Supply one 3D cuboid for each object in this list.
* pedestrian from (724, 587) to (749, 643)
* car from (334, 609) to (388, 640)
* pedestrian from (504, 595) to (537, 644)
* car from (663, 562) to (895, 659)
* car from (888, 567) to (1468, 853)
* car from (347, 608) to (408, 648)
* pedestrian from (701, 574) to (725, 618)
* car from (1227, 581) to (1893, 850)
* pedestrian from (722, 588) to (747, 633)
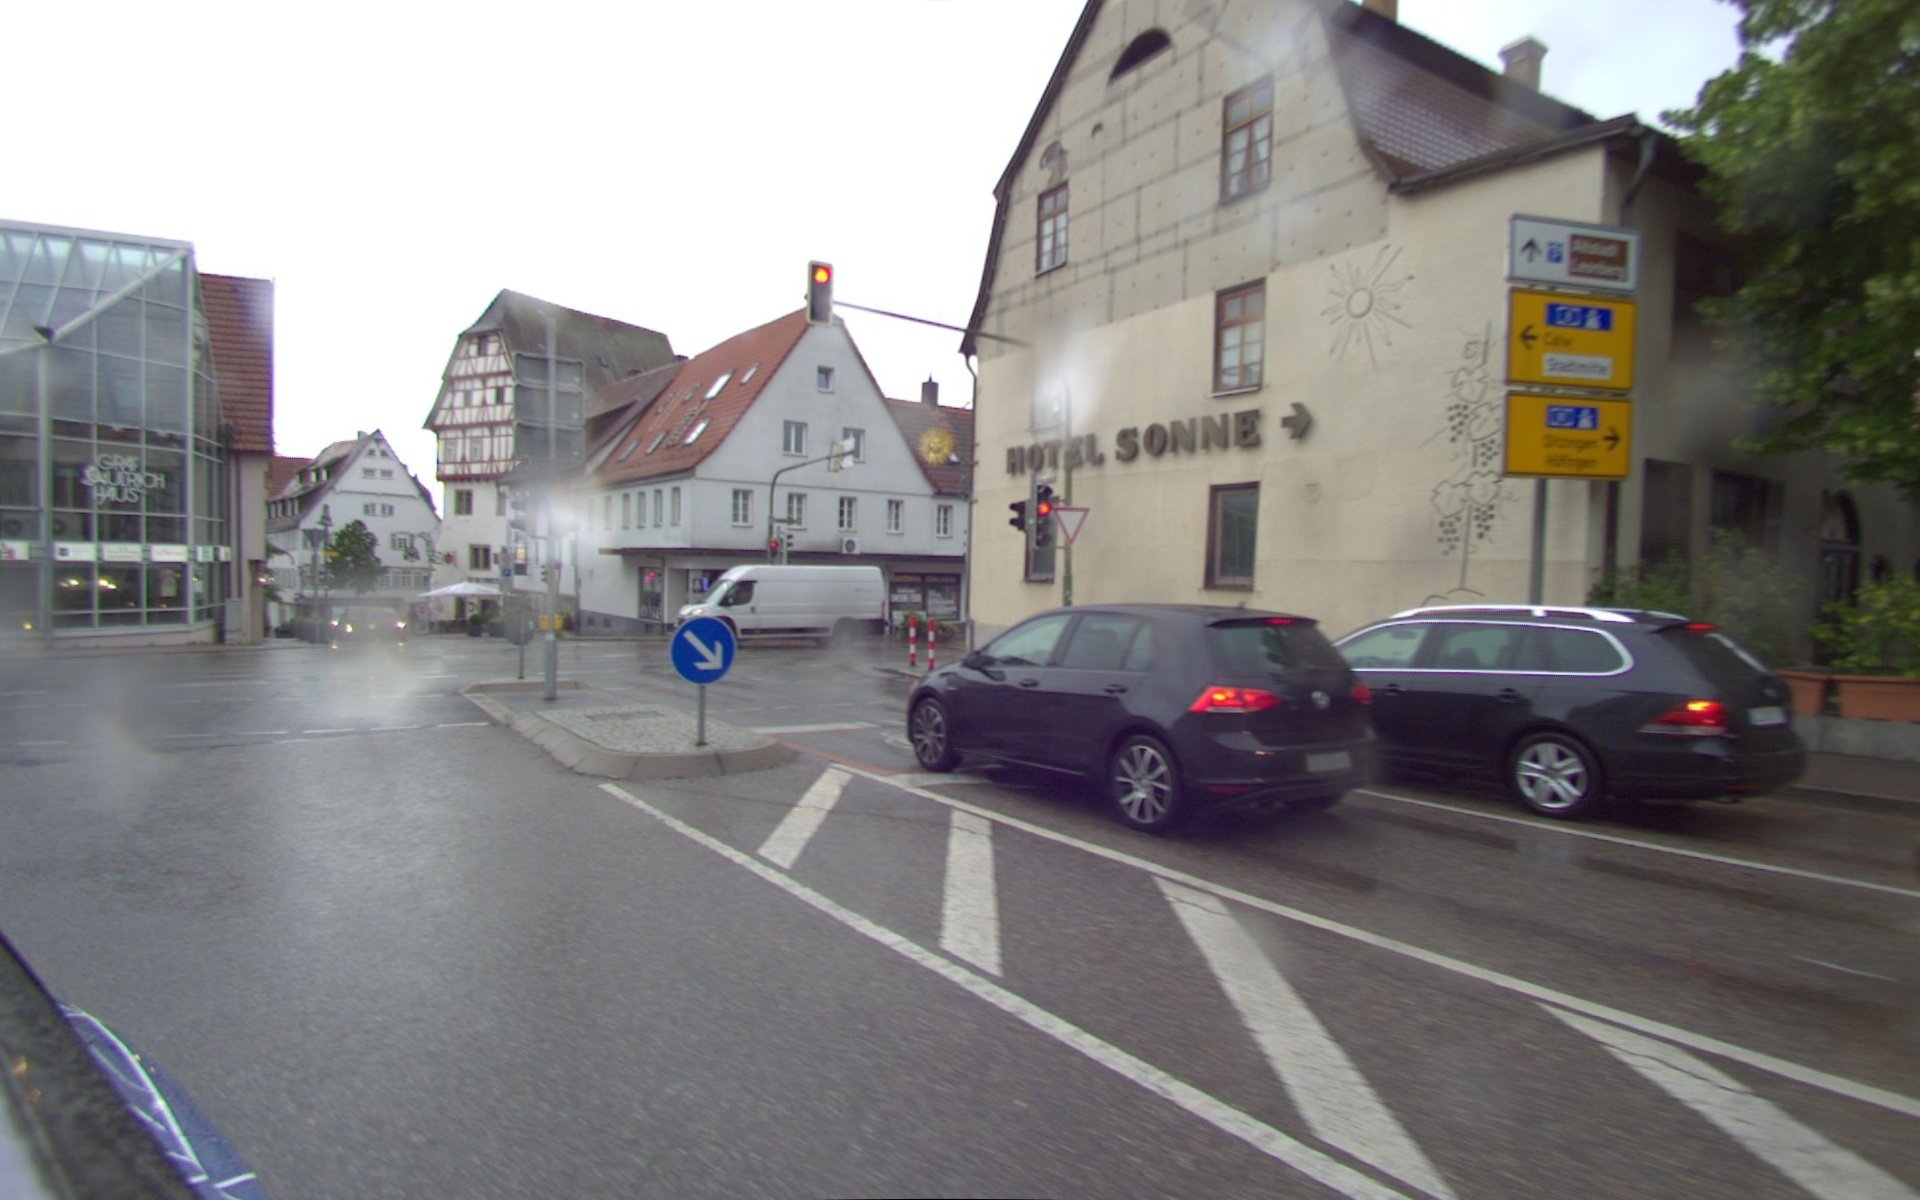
[{"bbox_3d":[-7.593,0.499,34.354,0.624,1.885,0.538,-2,1,-36],"label":"pedestrian"},{"bbox_3d":[-27.827,1.091,46.963,1.717,1.298,3.239,-3,2,-38],"label":"car"},{"bbox_3d":[-18.317,0.796,42.183,0.970,1.952,0.785,-2,1,-1],"label":"pedestrian"},{"bbox_3d":[-5.496,0.247,30.916,6.444,2.646,2.604,-2,0,-28],"label":"car"},{"bbox_3d":[1.276,0.617,7.673,1.748,1.516,4.328,1,-1,-33],"label":"car"},{"bbox_3d":[-24.620,1.148,42.733,1.717,1.518,3.691,-3,2,-38],"label":"car"},{"bbox_3d":[-9.056,-0.157,37.134,0.624,1.571,0.596,-2,1,-36],"label":"pedestrian"},{"bbox_3d":[4.330,0.692,8.019,1.748,1.530,4.197,1,-1,-33],"label":"car"},{"bbox_3d":[-7.932,0.364,35.554,0.624,1.571,0.596,-2,1,-36],"label":"pedestrian"}]
